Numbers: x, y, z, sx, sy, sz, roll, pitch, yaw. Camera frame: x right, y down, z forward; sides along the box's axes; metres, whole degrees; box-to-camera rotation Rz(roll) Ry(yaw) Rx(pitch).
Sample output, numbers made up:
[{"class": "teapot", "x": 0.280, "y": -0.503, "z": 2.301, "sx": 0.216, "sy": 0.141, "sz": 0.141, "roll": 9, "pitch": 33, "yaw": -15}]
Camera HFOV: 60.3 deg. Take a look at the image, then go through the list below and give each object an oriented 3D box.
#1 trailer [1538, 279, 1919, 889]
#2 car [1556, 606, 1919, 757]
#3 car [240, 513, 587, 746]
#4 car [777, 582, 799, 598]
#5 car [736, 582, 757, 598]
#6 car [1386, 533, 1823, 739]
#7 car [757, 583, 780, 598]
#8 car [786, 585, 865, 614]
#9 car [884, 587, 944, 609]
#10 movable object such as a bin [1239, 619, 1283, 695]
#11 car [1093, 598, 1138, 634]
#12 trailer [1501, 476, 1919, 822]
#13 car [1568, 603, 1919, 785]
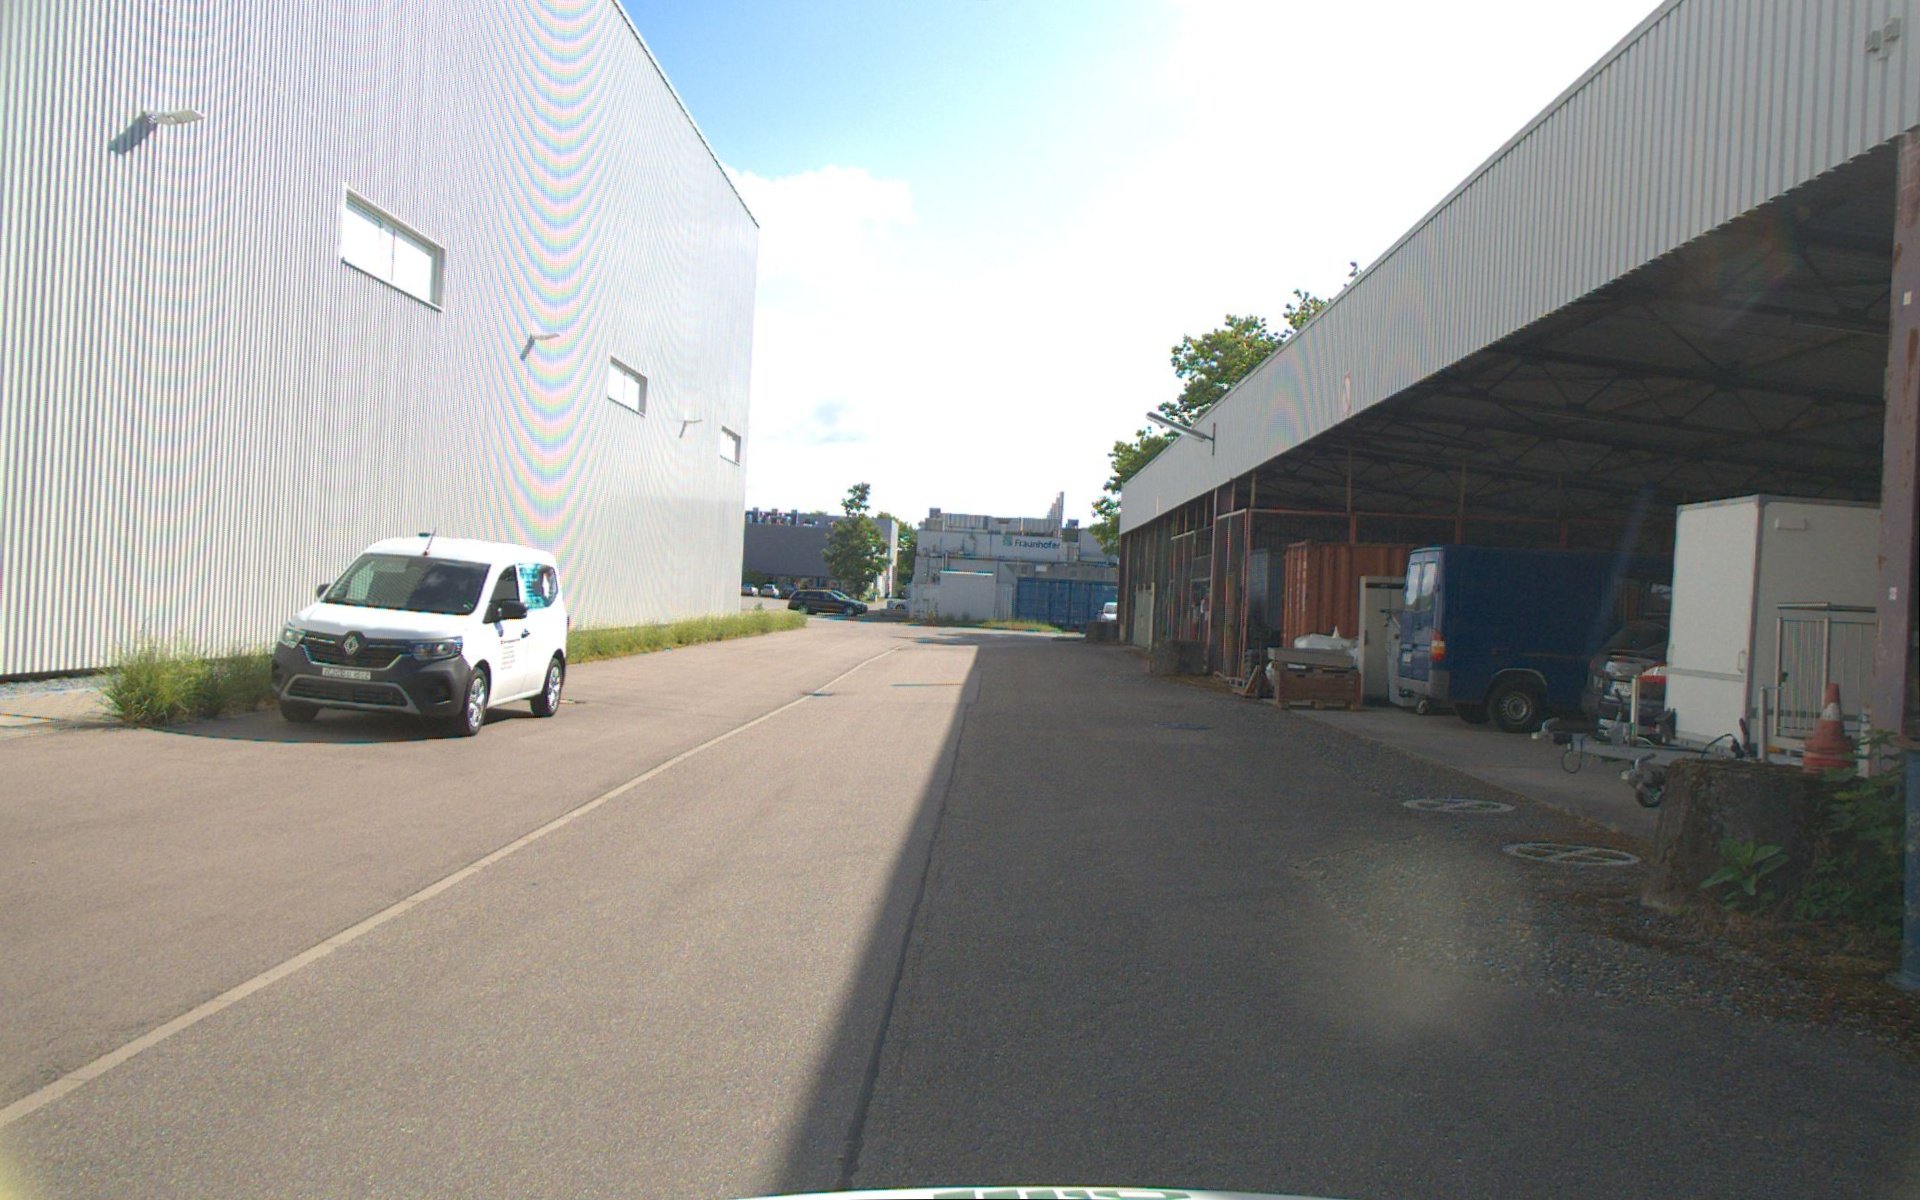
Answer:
[{"class": "trailer", "x": 9.061, "y": 0.051, "z": 10.347, "sx": 9.831, "sy": 3.272, "sz": 2.854, "roll": 2, "pitch": 0, "yaw": 1}, {"class": "car", "x": 9.023, "y": 0.892, "z": 18.663, "sx": 3.908, "sy": 1.498, "sz": 1.787, "roll": 2, "pitch": 0, "yaw": -4}, {"class": "car", "x": -5.243, "y": 0.251, "z": 16.559, "sx": 1.852, "sy": 1.877, "sz": 4.359, "roll": 5, "pitch": 0, "yaw": 0}, {"class": "car", "x": -20.214, "y": -1.132, "z": 194.368, "sx": 2.148, "sy": 1.766, "sz": 4.000, "roll": 1, "pitch": 0, "yaw": 0}, {"class": "car", "x": -25.229, "y": -1.149, "z": 195.793, "sx": 1.952, "sy": 1.766, "sz": 4.000, "roll": 1, "pitch": 0, "yaw": 0}, {"class": "car", "x": 8.299, "y": 0.445, "z": 21.636, "sx": 4.876, "sy": 2.366, "sz": 2.000, "roll": 2, "pitch": 0, "yaw": 1}, {"class": "car", "x": -22.690, "y": -1.136, "z": 196.108, "sx": 2.148, "sy": 1.766, "sz": 4.000, "roll": 1, "pitch": 0, "yaw": 0}, {"class": "car", "x": -8.021, "y": -0.023, "z": 98.787, "sx": 4.432, "sy": 1.534, "sz": 1.909, "roll": 2, "pitch": 0, "yaw": 3}, {"class": "car", "x": -3.482, "y": -0.154, "z": 126.338, "sx": 4.432, "sy": 1.534, "sz": 1.909, "roll": 2, "pitch": 0, "yaw": 2}, {"class": "movable object such as a bin", "x": 4.967, "y": 0.927, "z": 27.348, "sx": 0.569, "sy": 1.185, "sz": 1.239, "roll": 2, "pitch": 0, "yaw": 5}, {"class": "car", "x": 8.049, "y": 0.812, "z": 85.840, "sx": 1.953, "sy": 1.613, "sz": 4.173, "roll": 2, "pitch": 2, "yaw": 0}, {"class": "trailer", "x": 6.885, "y": 0.383, "z": 12.915, "sx": 4.711, "sy": 2.433, "sz": 1.828, "roll": 2, "pitch": 0, "yaw": 6}, {"class": "car", "x": 8.174, "y": 0.862, "z": 15.543, "sx": 4.241, "sy": 1.522, "sz": 1.777, "roll": 2, "pitch": 0, "yaw": -2}]
